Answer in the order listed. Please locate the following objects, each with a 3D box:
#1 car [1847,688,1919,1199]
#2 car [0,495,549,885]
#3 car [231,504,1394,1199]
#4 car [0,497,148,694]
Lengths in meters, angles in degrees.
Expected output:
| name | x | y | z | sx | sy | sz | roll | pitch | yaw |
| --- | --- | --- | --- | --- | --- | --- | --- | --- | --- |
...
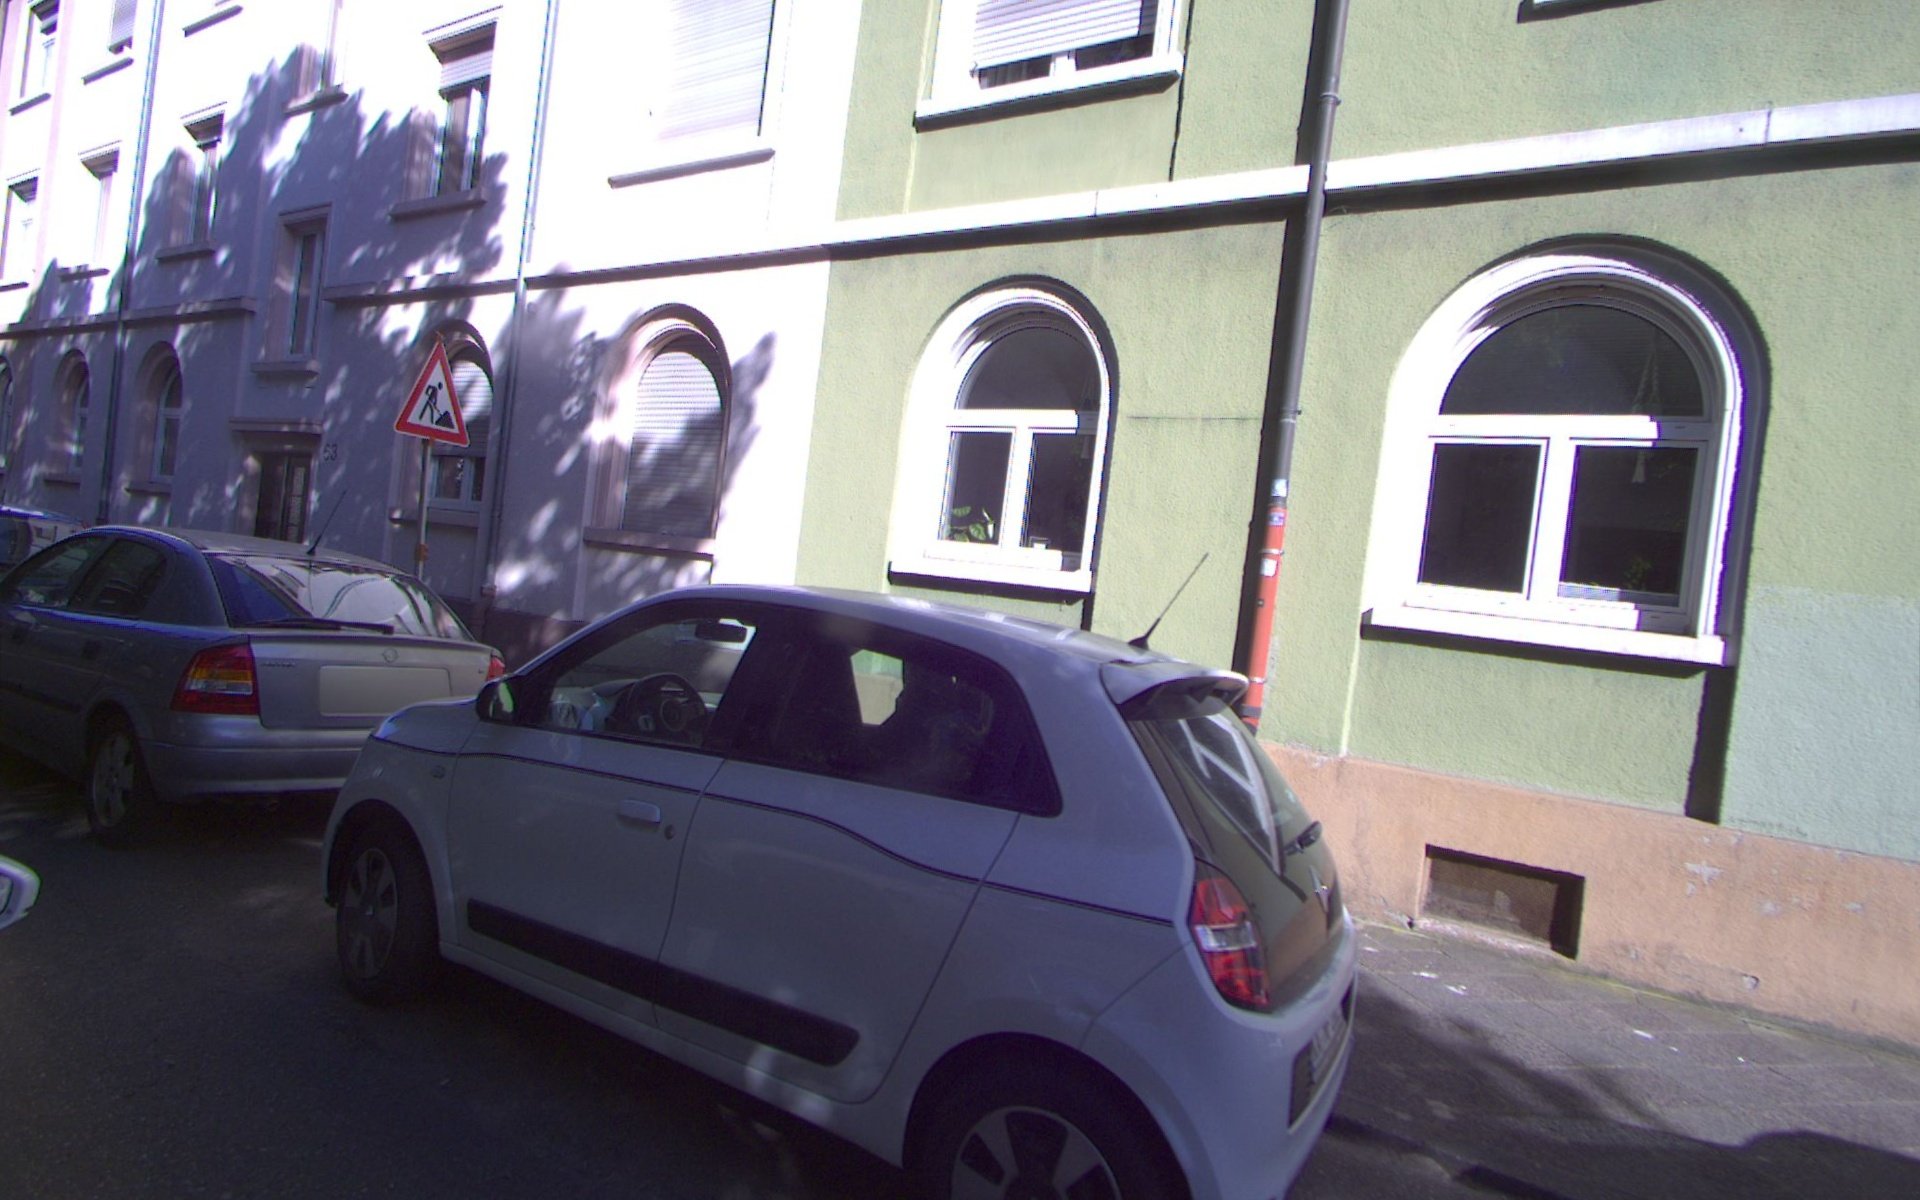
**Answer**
| name | x | y | z | sx | sy | sz | roll | pitch | yaw |
| --- | --- | --- | --- | --- | --- | --- | --- | --- | --- |
| car | 3.587 | 1.171 | 0.697 | 4.086 | 1.616 | 1.726 | 7 | 0 | 29 |
| car | -4.404 | 0.267 | 5.692 | 4.019 | 1.430 | 1.633 | 7 | 0 | 30 |
| car | -0.612 | 0.679 | 3.421 | 3.532 | 1.553 | 1.633 | 7 | 0 | 30 |
| car | -8.656 | -0.206 | 8.465 | 3.725 | 1.430 | 1.620 | 7 | 0 | 32 |
